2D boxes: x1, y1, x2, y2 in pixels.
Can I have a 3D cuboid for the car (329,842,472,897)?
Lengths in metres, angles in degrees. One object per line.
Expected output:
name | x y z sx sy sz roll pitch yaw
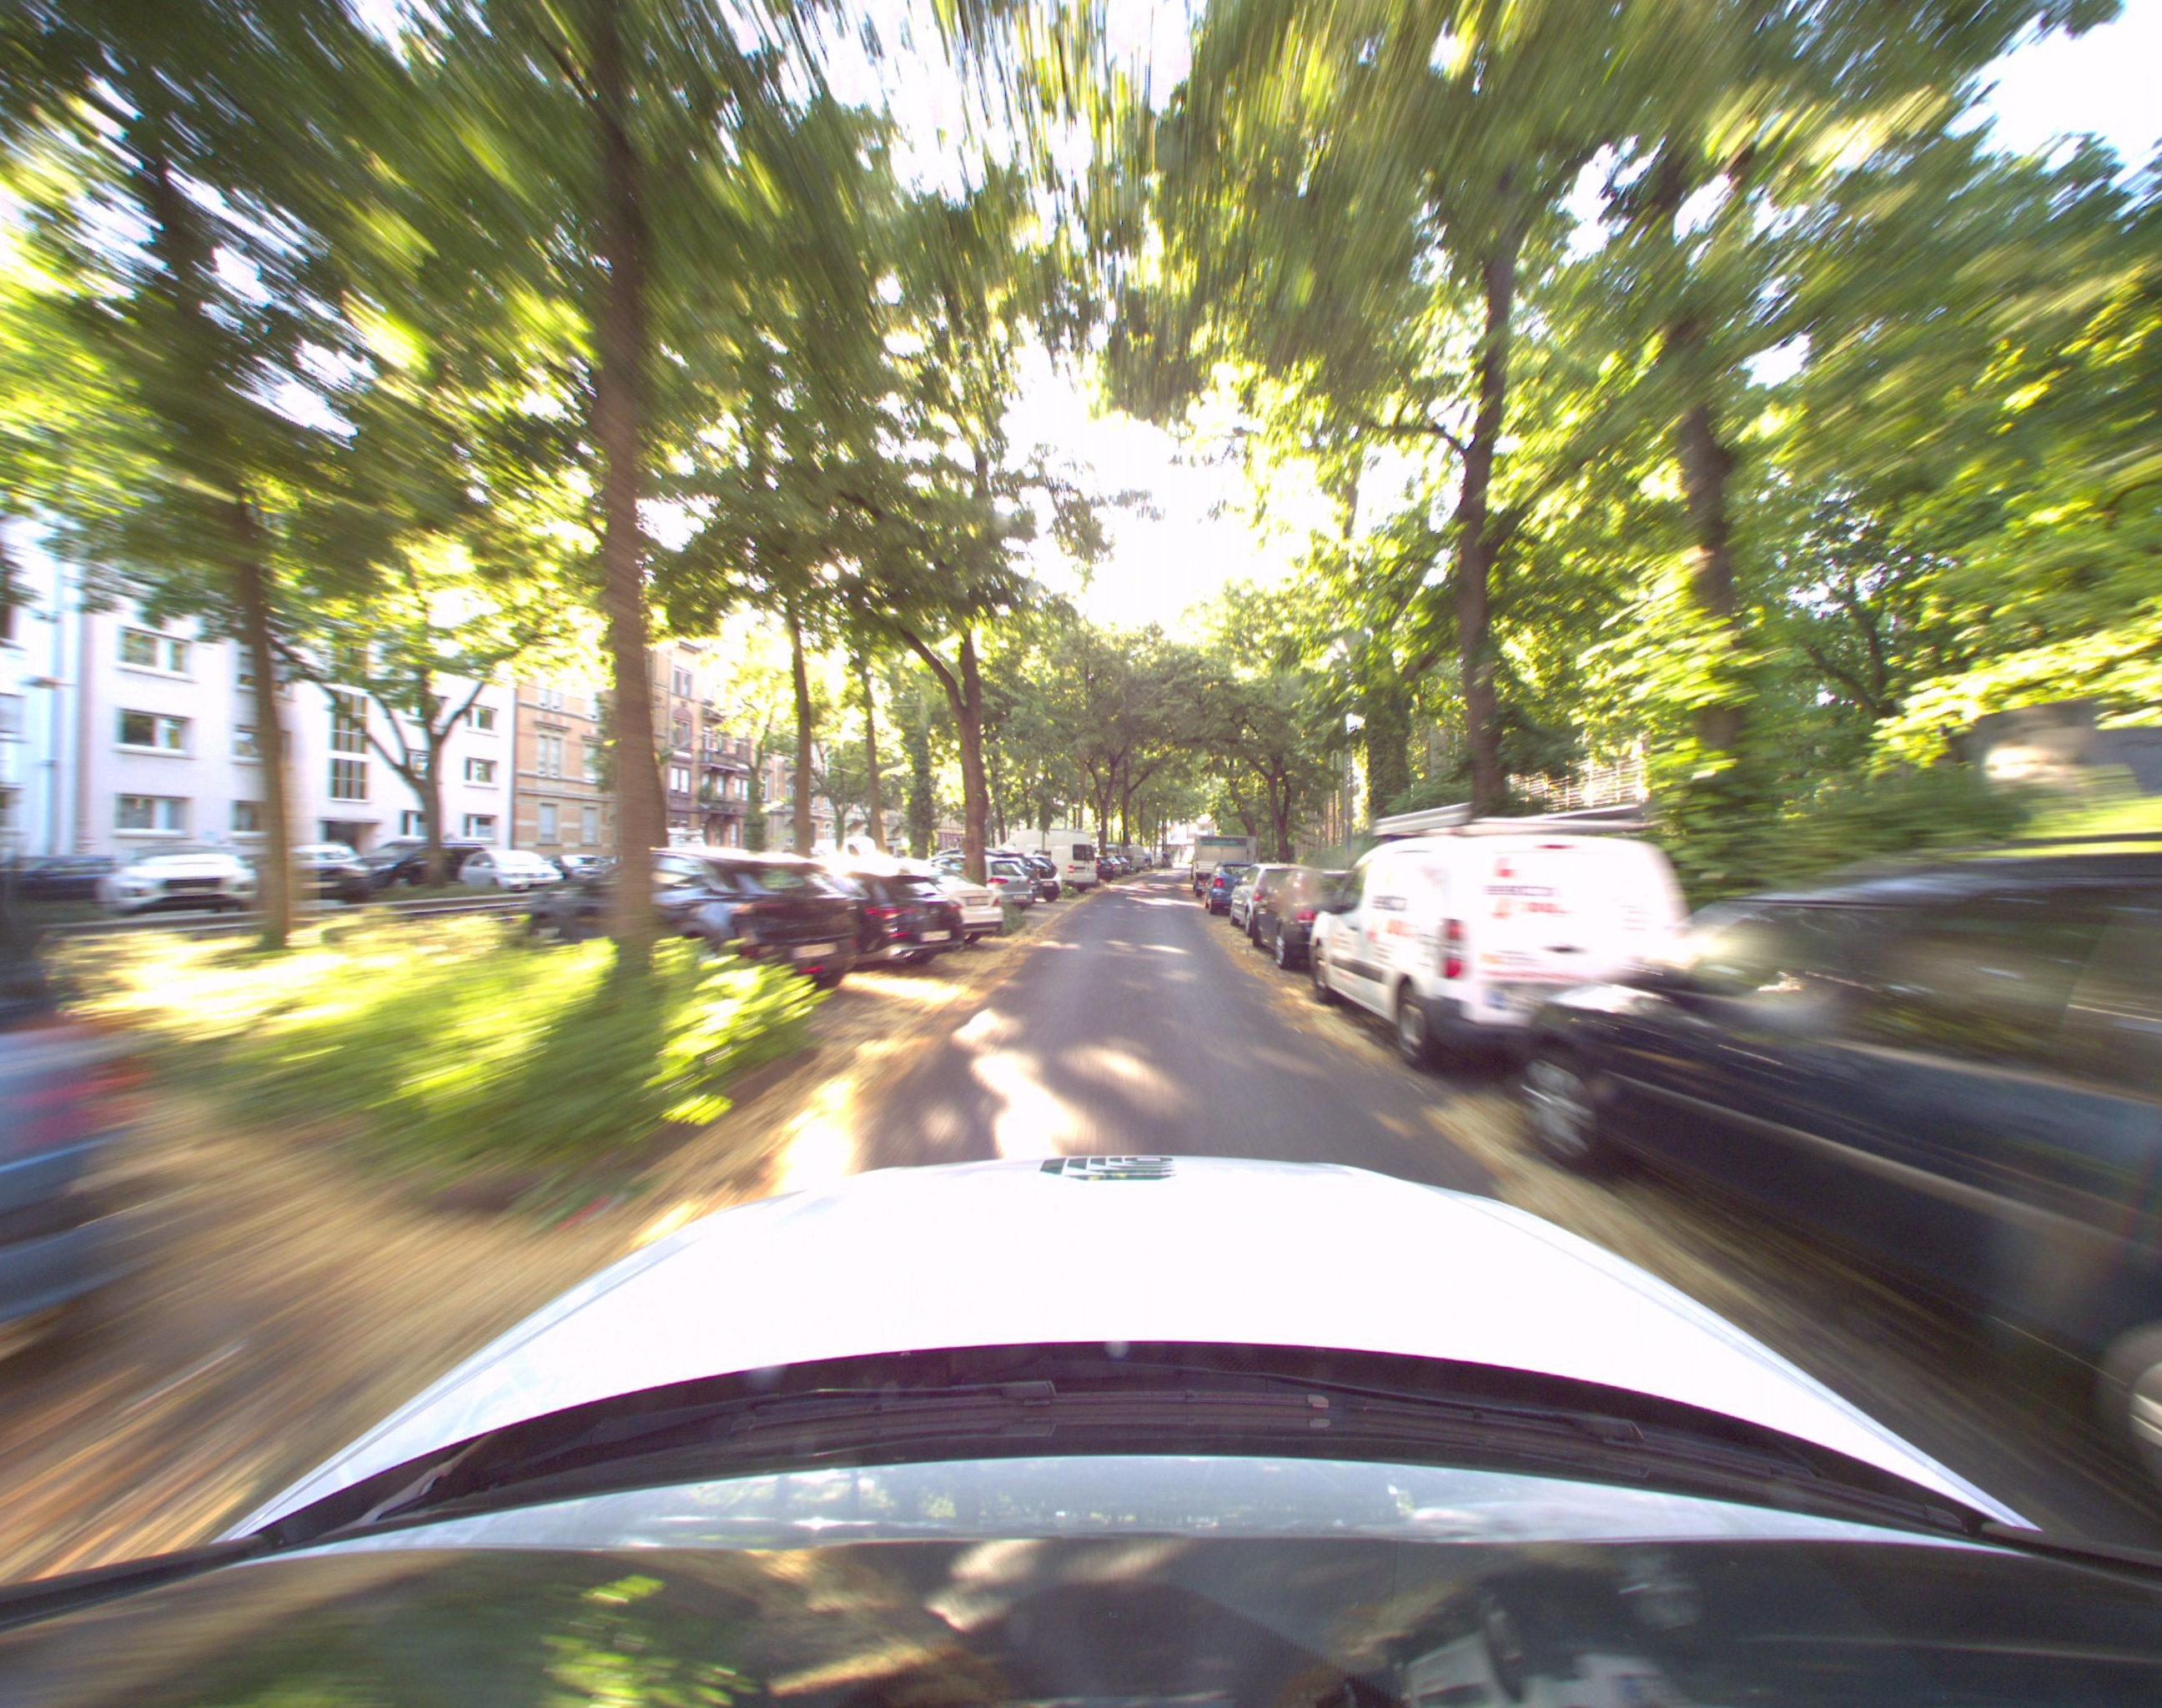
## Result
car | -25.684 0.548 30.940 1.700 1.932 4.010 -1 0 9

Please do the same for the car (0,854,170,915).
car | -26.879 0.755 21.125 1.700 1.446 4.010 -1 0 9

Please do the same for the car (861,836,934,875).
car | -13.976 0.136 61.901 5.200 2.572 2.288 -4 -1 34

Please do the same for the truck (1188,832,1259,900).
truck | 5.271 0.414 30.676 2.354 2.352 4.392 0 0 7

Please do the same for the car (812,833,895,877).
car | -14.842 0.080 53.032 5.200 2.572 2.288 -4 -1 34

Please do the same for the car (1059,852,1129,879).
car | 0.819 0.728 51.551 4.040 1.473 1.830 3 -1 37

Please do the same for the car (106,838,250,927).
car | -19.373 0.639 17.539 4.187 1.651 1.869 -4 -1 42

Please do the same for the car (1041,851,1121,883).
car | -0.036 0.709 44.700 4.040 1.473 1.830 3 -1 37

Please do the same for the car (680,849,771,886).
car | -16.610 0.649 37.992 4.186 1.473 1.870 -4 -1 34

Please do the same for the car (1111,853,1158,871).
car | 5.106 0.793 78.190 4.040 1.473 1.830 3 -1 37

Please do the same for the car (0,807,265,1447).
car | -4.414 0.622 2.614 3.573 1.562 1.617 3 1 30

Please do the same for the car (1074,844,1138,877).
car | 1.736 0.462 56.592 4.040 2.040 1.830 3 -1 37

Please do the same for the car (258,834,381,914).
car | -19.027 0.543 20.289 4.187 1.749 1.869 -4 -1 42

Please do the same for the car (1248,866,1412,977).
car | 3.628 0.911 12.468 1.565 1.386 3.603 0 0 2

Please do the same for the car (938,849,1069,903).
car | -2.513 0.690 26.400 3.783 1.481 1.747 3 -1 25

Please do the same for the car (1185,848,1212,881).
car | 7.227 0.624 49.714 1.562 1.941 3.610 0 0 9

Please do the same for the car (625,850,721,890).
car | -17.796 0.688 35.469 4.186 1.473 1.870 -4 -1 34

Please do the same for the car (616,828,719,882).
car | -23.767 0.055 47.167 2.537 2.887 5.495 -1 0 9

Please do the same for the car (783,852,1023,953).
car | -3.139 0.785 14.364 3.783 1.391 1.747 3 -1 25

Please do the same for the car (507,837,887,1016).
car | -4.296 0.676 9.102 3.783 1.497 1.747 3 -1 25

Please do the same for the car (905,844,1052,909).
car | -2.972 0.629 23.615 3.783 1.587 1.747 3 -1 25

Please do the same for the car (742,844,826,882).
car | -15.241 0.467 41.680 4.186 1.699 1.870 -4 -1 34

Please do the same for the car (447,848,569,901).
car | -18.864 0.674 26.762 4.186 1.473 1.870 -4 -1 34

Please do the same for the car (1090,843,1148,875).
car | 2.911 0.399 62.826 4.040 2.210 1.830 3 -1 37

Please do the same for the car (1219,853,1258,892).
car | 6.933 0.767 36.092 1.562 1.648 3.609 0 0 9

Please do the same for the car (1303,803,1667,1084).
car | 3.281 0.608 7.499 1.565 1.903 3.904 0 0 2

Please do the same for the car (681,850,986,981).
car | -3.449 0.756 11.348 3.783 1.391 1.747 3 -1 25

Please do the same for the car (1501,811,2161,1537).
car | 3.219 0.725 2.874 1.566 1.637 3.711 0 0 0

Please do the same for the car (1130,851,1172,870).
car | 7.420 0.698 86.415 4.040 1.789 1.830 3 -1 37

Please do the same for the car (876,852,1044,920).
car | -3.064 0.768 20.647 3.783 1.421 1.747 3 -1 25

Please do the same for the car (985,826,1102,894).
car | -1.541 0.207 32.859 4.443 2.476 1.830 3 -1 37

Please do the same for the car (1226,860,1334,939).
car | 4.094 0.867 17.259 1.565 1.467 3.603 0 0 2

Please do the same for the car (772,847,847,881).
car | -15.587 0.586 46.740 4.186 1.699 1.870 -4 -1 34

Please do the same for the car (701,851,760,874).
car | -23.024 0.546 53.669 1.700 1.446 4.010 -1 0 9

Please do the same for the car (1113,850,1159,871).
car | 5.464 0.636 81.061 4.040 1.789 1.830 3 -1 37

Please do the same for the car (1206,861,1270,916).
car | 4.323 0.891 22.791 1.562 1.385 3.608 0 0 8

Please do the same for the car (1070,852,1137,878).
car | 1.471 0.745 54.166 4.040 1.473 1.830 3 -1 37
